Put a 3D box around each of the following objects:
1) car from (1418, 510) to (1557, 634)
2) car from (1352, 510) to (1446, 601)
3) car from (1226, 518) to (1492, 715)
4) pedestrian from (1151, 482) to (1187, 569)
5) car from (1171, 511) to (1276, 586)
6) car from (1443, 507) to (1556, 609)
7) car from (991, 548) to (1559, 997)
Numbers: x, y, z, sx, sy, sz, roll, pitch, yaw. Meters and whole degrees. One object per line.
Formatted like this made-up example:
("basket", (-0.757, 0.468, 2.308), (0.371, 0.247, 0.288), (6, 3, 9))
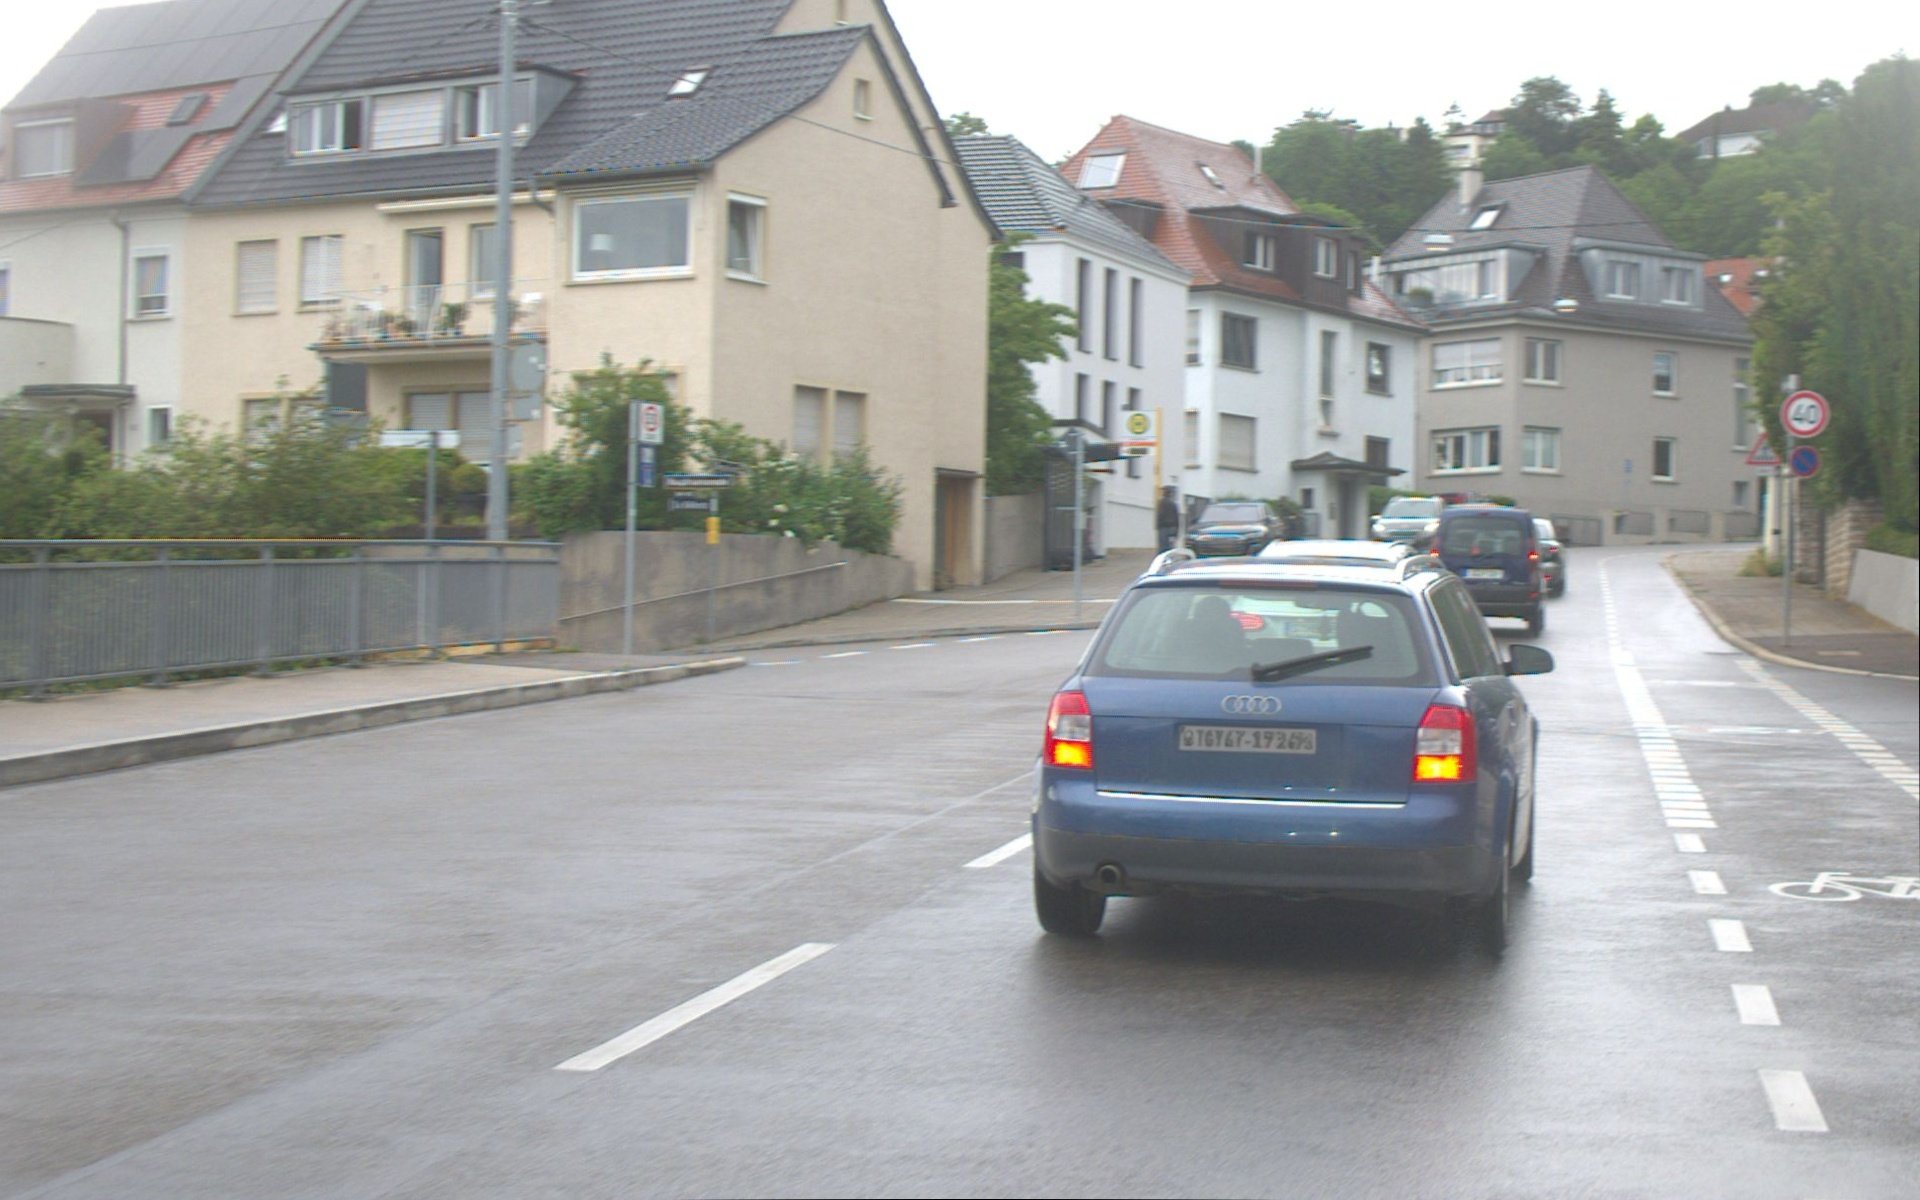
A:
("car", (7.659, -0.434, 49.984), (1.822, 1.611, 3.784), (4, 2, 8))
("car", (10.840, -1.131, 84.681), (1.994, 2.006, 3.999), (2, 3, 10))
("car", (3.339, 0.116, 28.160), (1.891, 1.384, 3.998), (4, 1, 10))
("pedestrian", (4.157, -1.490, 68.404), (0.658, 1.685, 0.581), (-2, 3, 4))
("car", (6.185, -1.191, 80.252), (1.994, 1.702, 3.998), (0, 1, 11))
("car", (10.040, -0.810, 64.184), (1.822, 1.724, 3.785), (4, 2, 7))
("car", (1.395, 0.547, 13.629), (1.748, 1.402, 3.998), (2, 2, 12))
